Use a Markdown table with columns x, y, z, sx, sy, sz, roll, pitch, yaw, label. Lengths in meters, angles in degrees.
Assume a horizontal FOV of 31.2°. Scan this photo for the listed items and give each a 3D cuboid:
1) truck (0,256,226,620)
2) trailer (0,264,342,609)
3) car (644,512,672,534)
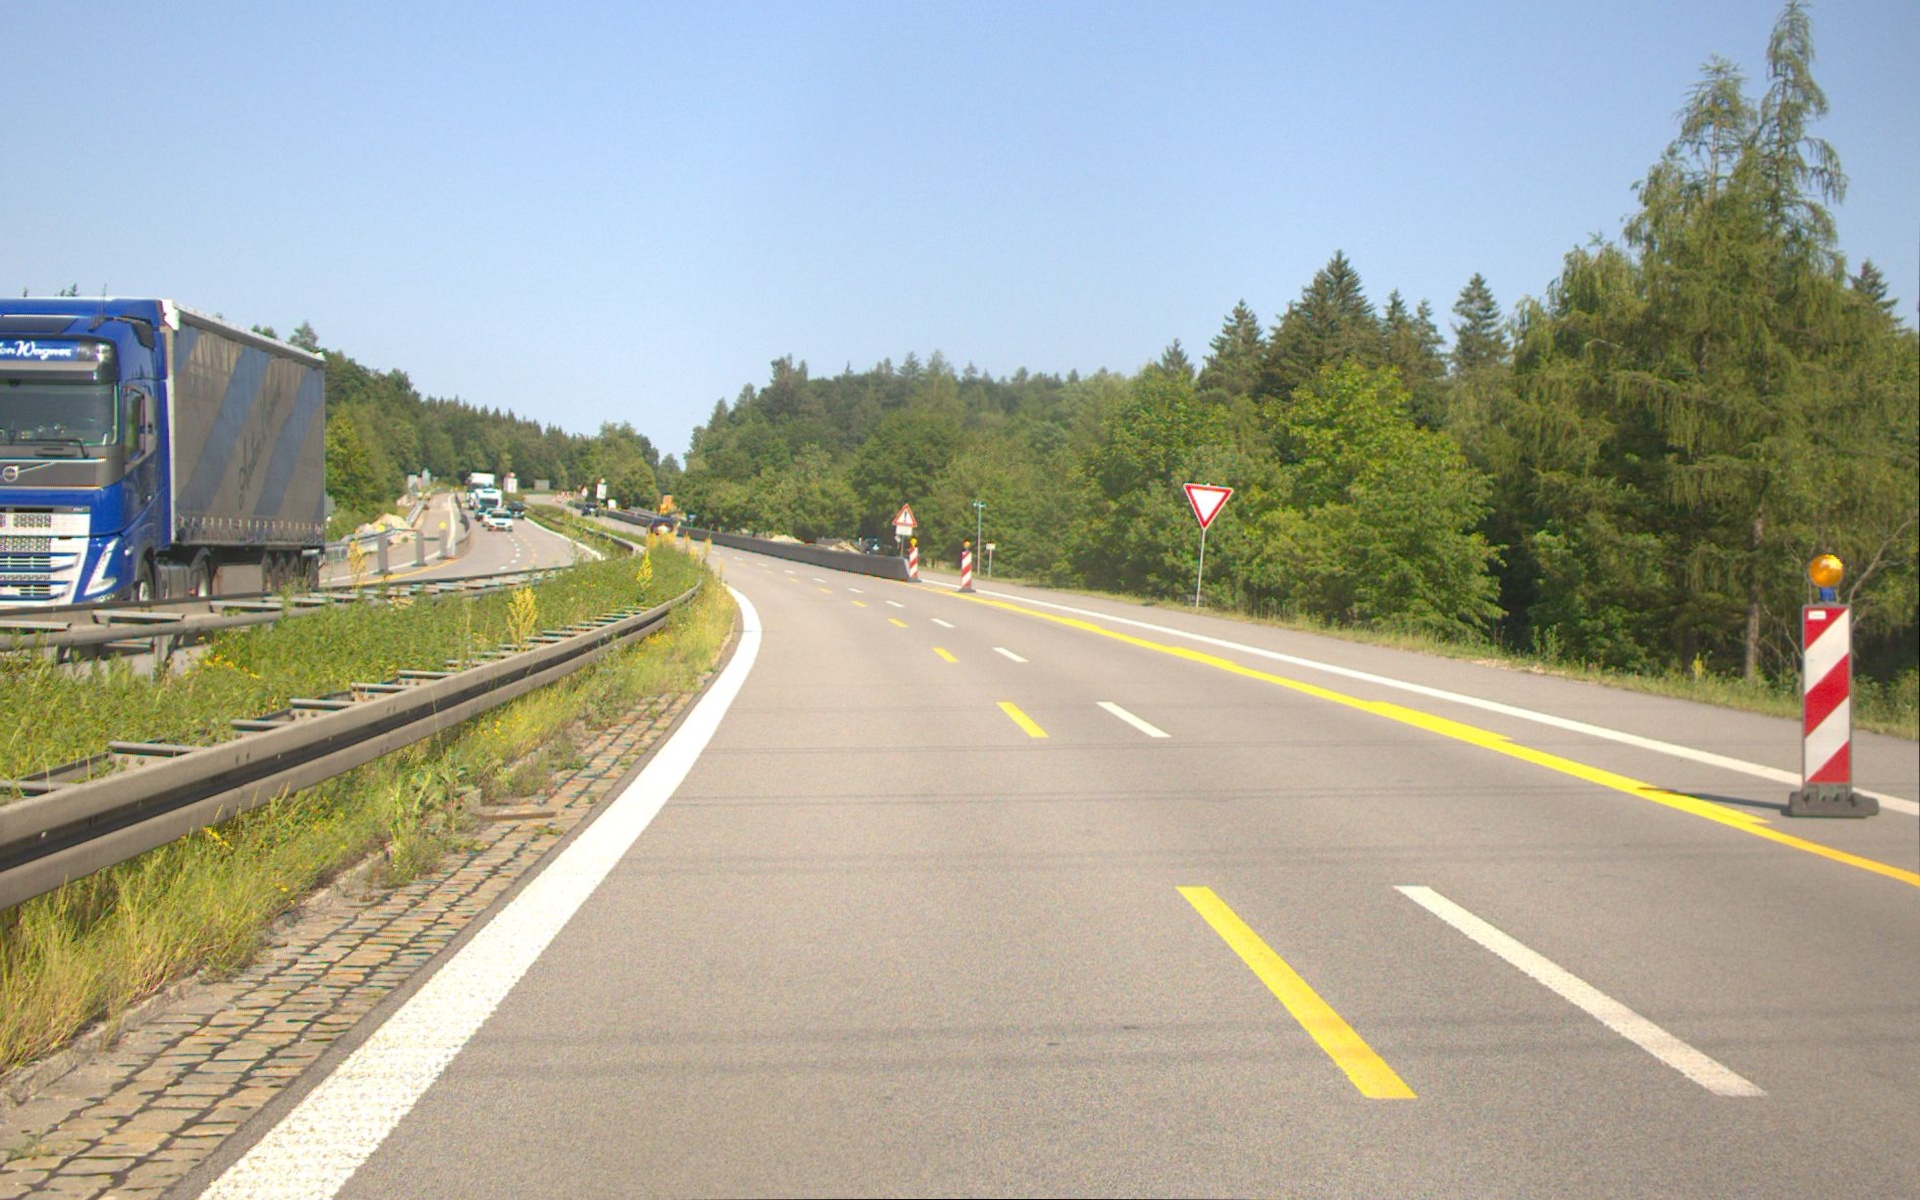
| x | y | z | sx | sy | sz | roll | pitch | yaw | label |
| --- | --- | --- | --- | --- | --- | --- | --- | --- | --- |
| -10.487 | -1.821 | 40.337 | 2.632 | 3.946 | 5.843 | 1 | 1 | -2 | truck |
| -10.728 | -2.073 | 46.447 | 2.679 | 3.940 | 13.771 | 1 | 2 | -2 | trailer |
| -22.197 | -5.687 | 252.758 | 1.743 | 1.461 | 4.295 | 3 | 2 | -8 | car |
